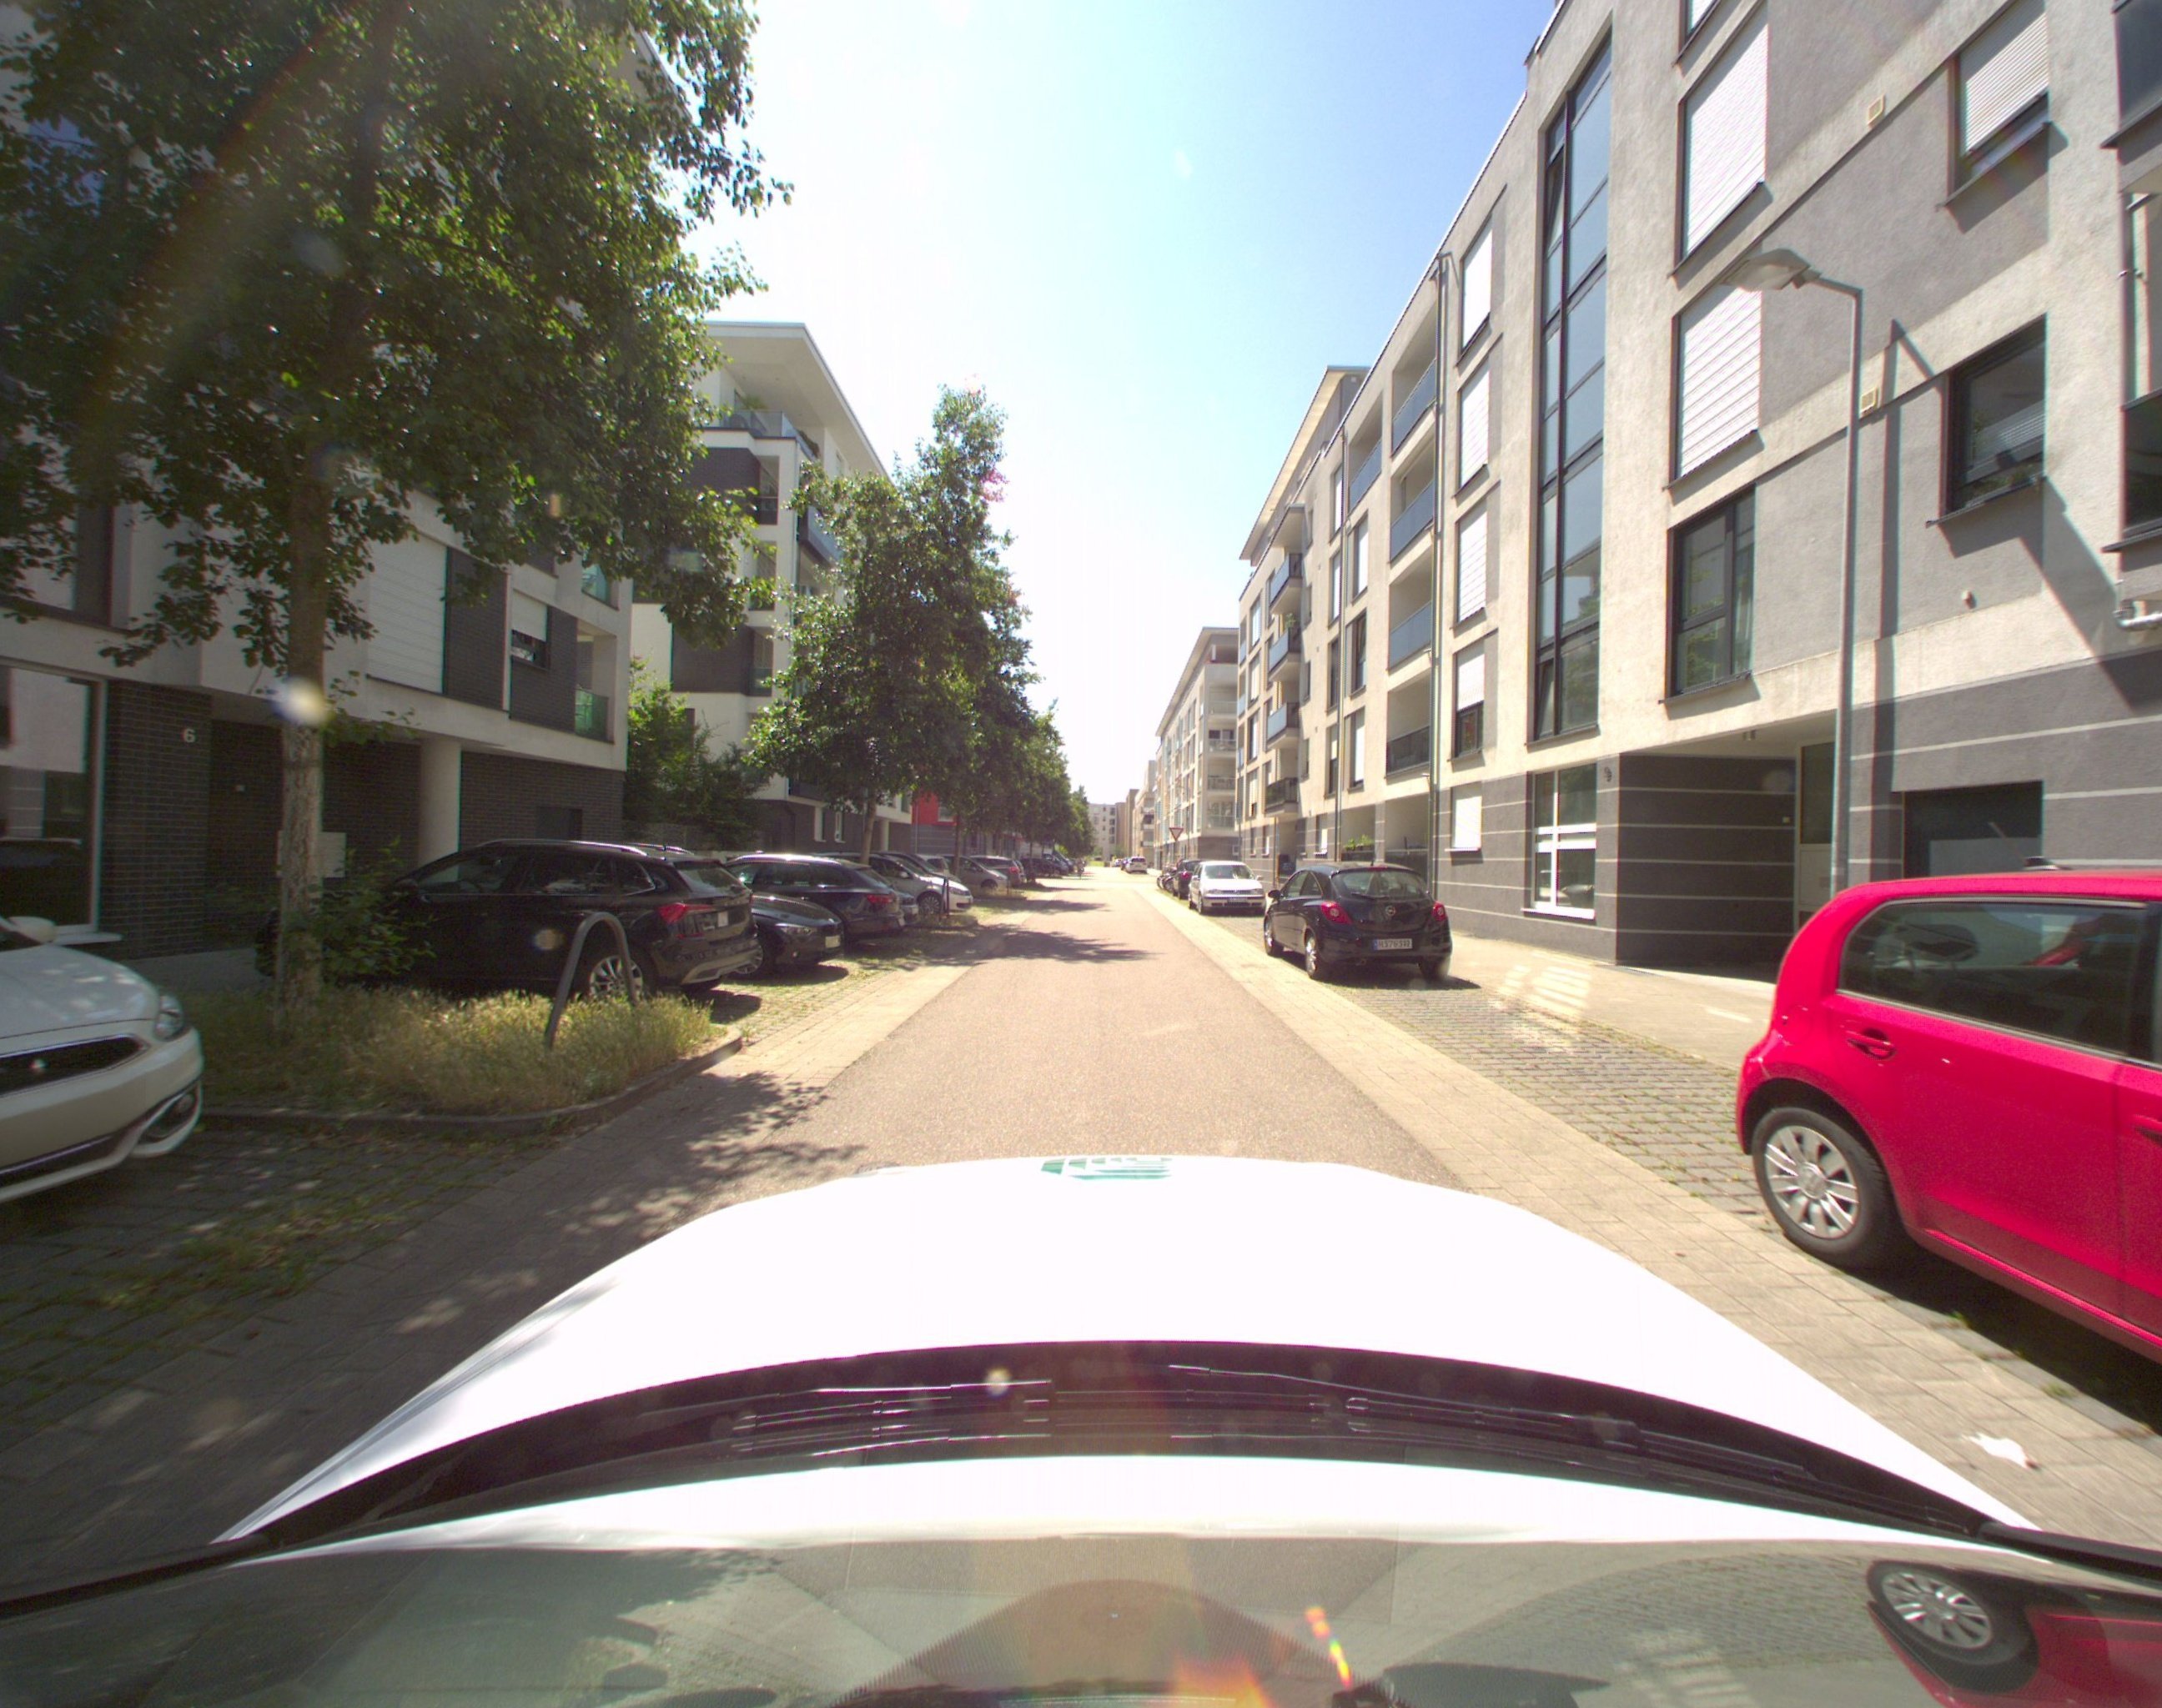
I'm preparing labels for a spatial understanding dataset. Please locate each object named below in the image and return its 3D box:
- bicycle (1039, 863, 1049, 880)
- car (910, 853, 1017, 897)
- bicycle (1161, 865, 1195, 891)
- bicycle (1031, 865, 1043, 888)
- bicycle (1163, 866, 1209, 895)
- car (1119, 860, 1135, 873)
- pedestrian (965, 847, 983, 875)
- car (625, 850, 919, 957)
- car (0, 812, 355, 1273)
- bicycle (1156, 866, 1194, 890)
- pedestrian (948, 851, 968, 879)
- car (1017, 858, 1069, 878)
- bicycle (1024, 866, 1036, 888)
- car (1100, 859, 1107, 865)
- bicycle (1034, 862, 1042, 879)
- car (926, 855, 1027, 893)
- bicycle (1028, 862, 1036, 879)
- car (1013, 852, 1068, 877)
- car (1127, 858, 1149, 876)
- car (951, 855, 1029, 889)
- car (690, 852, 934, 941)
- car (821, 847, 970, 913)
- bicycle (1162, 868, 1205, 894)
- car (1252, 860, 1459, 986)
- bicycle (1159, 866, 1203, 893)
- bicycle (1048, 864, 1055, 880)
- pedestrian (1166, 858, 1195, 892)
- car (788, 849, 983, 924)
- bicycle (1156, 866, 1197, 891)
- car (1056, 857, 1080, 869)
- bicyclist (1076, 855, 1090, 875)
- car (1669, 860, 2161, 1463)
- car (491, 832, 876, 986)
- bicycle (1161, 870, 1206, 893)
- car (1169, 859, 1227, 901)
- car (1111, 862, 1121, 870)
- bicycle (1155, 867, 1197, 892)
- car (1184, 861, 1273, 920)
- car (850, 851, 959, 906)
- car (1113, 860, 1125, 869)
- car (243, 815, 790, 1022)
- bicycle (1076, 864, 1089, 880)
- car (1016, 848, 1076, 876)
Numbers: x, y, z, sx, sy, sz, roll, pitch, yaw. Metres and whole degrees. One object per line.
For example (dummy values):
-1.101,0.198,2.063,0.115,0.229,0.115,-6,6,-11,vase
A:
-2.828,1.297,61.636,0.569,1.174,1.765,4,1,-6,bicycle
-4.687,0.824,32.839,3.924,1.553,1.872,3,0,0,car
4.699,1.155,39.390,1.546,1.218,0.707,0,-1,-1,bicycle
-2.346,1.165,43.141,0.371,1.180,1.814,1,-1,-11,bicycle
4.505,1.134,35.052,1.865,1.218,0.715,0,-1,-3,bicycle
5.627,1.500,98.961,1.749,1.552,4.005,2,0,5,car
-7.772,0.522,59.238,1.004,2.014,1.130,1,-1,4,pedestrian
-4.789,0.756,13.092,3.965,1.445,1.773,3,-1,-3,car
-5.690,0.572,3.168,3.972,1.592,1.884,3,0,1,car
4.607,1.170,40.101,1.851,1.193,0.688,0,-1,4,bicycle
-7.468,0.663,49.475,0.996,1.690,0.832,1,-1,2,pedestrian
-3.298,1.211,71.768,4.367,1.515,2.075,3,-1,1,car
-2.707,1.188,43.117,0.434,1.128,1.971,1,-1,-11,bicycle
6.356,2.303,230.954,1.987,1.519,3.999,1,0,0,car
-3.260,1.258,61.648,0.432,1.204,1.700,3,1,2,bicycle
-4.522,0.879,35.733,4.170,1.486,1.957,2,-2,-3,car
-3.716,1.241,61.908,0.517,1.204,1.752,3,1,-1,bicycle
-3.882,1.009,78.966,5.127,2.119,2.312,2,0,1,car
5.494,1.239,78.850,1.990,1.657,4.117,0,0,2,car
-4.502,0.879,40.653,3.617,1.520,1.832,3,-1,1,car
-5.053,0.770,15.720,3.972,1.422,1.898,3,0,2,car
-5.067,0.712,22.676,3.701,1.586,1.818,3,-1,-4,car
4.513,1.173,35.798,1.782,1.104,0.746,0,-1,-3,bicycle
3.678,0.834,11.705,1.637,1.462,4.118,-1,0,1,car
4.562,1.155,37.154,1.922,1.218,0.459,0,-1,-8,bicycle
-2.235,1.362,61.847,0.464,1.141,1.925,1,0,-1,bicycle
4.568,0.964,37.284,1.178,1.515,0.686,0,-1,-9,pedestrian
-4.727,0.770,20.256,4.348,1.710,1.999,-1,0,-2,car
4.552,1.163,38.709,1.911,1.179,0.640,0,-1,10,bicycle
-2.214,1.539,143.231,3.965,2.014,2.004,1,-1,7,car
0.154,0.802,60.506,0.950,1.459,0.800,1,-1,0,bicyclist
3.487,0.769,1.936,1.589,1.486,3.676,-1,0,1,car
-4.968,0.653,10.597,3.971,1.651,1.919,2,0,2,car
4.580,1.225,36.491,1.919,1.035,0.559,0,-1,-3,bicycle
4.440,0.953,31.408,1.732,1.485,4.230,0,0,1,car
7.400,2.513,174.732,1.987,1.717,3.999,1,0,0,car
4.439,1.172,38.105,1.911,1.133,0.611,0,-1,10,bicycle
4.062,0.948,23.091,1.827,1.505,4.351,0,0,1,car
-5.496,0.738,25.686,2.923,1.500,1.848,4,0,0,car
6.895,1.885,147.510,1.987,1.675,3.999,1,0,0,car
-5.275,0.565,8.075,3.973,1.629,1.933,3,-1,1,car
0.136,1.331,60.484,0.895,1.129,2.040,1,0,1,bicycle
-3.619,0.849,84.398,6.002,2.816,2.605,0,-1,1,car
